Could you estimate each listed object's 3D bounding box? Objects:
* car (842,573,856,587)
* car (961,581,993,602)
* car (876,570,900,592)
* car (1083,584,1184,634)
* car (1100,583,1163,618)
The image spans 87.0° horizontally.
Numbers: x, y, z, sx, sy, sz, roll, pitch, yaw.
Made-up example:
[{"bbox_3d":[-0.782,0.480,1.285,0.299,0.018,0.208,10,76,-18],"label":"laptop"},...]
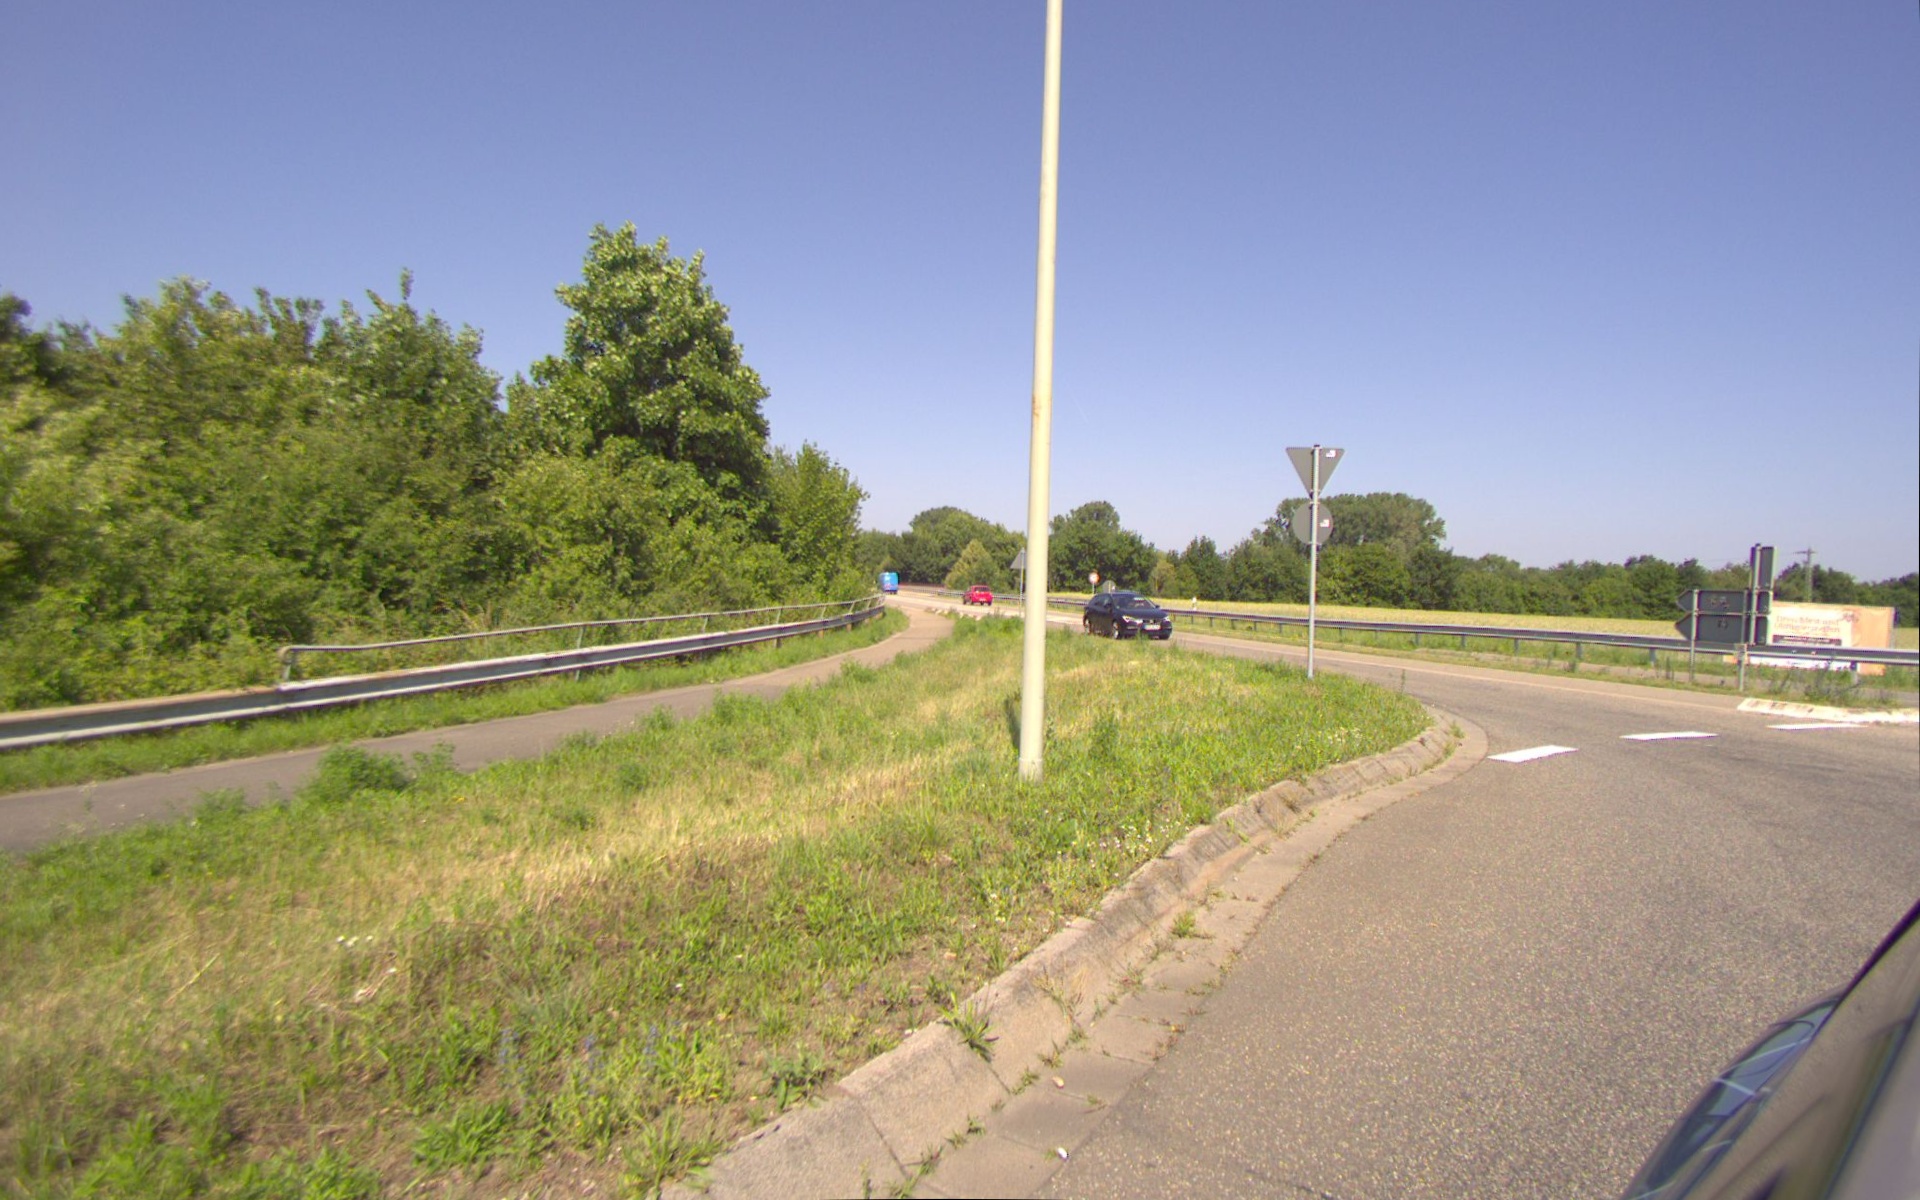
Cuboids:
[{"bbox_3d":[-13.839,-2.489,125.796,1.431,1.668,3.543,1,1,-12],"label":"car"},{"bbox_3d":[1.316,-0.686,79.015,1.598,1.509,3.811,3,1,-13],"label":"car"},{"bbox_3d":[-9.216,-2.419,128.376,1.958,2.643,7.306,3,1,-12],"label":"car"},{"bbox_3d":[5.420,0.241,32.230,1.770,1.415,4.189,1,2,-11],"label":"car"},{"bbox_3d":[8.351,0.007,49.572,1.713,1.542,3.839,3,0,-12],"label":"car"}]
